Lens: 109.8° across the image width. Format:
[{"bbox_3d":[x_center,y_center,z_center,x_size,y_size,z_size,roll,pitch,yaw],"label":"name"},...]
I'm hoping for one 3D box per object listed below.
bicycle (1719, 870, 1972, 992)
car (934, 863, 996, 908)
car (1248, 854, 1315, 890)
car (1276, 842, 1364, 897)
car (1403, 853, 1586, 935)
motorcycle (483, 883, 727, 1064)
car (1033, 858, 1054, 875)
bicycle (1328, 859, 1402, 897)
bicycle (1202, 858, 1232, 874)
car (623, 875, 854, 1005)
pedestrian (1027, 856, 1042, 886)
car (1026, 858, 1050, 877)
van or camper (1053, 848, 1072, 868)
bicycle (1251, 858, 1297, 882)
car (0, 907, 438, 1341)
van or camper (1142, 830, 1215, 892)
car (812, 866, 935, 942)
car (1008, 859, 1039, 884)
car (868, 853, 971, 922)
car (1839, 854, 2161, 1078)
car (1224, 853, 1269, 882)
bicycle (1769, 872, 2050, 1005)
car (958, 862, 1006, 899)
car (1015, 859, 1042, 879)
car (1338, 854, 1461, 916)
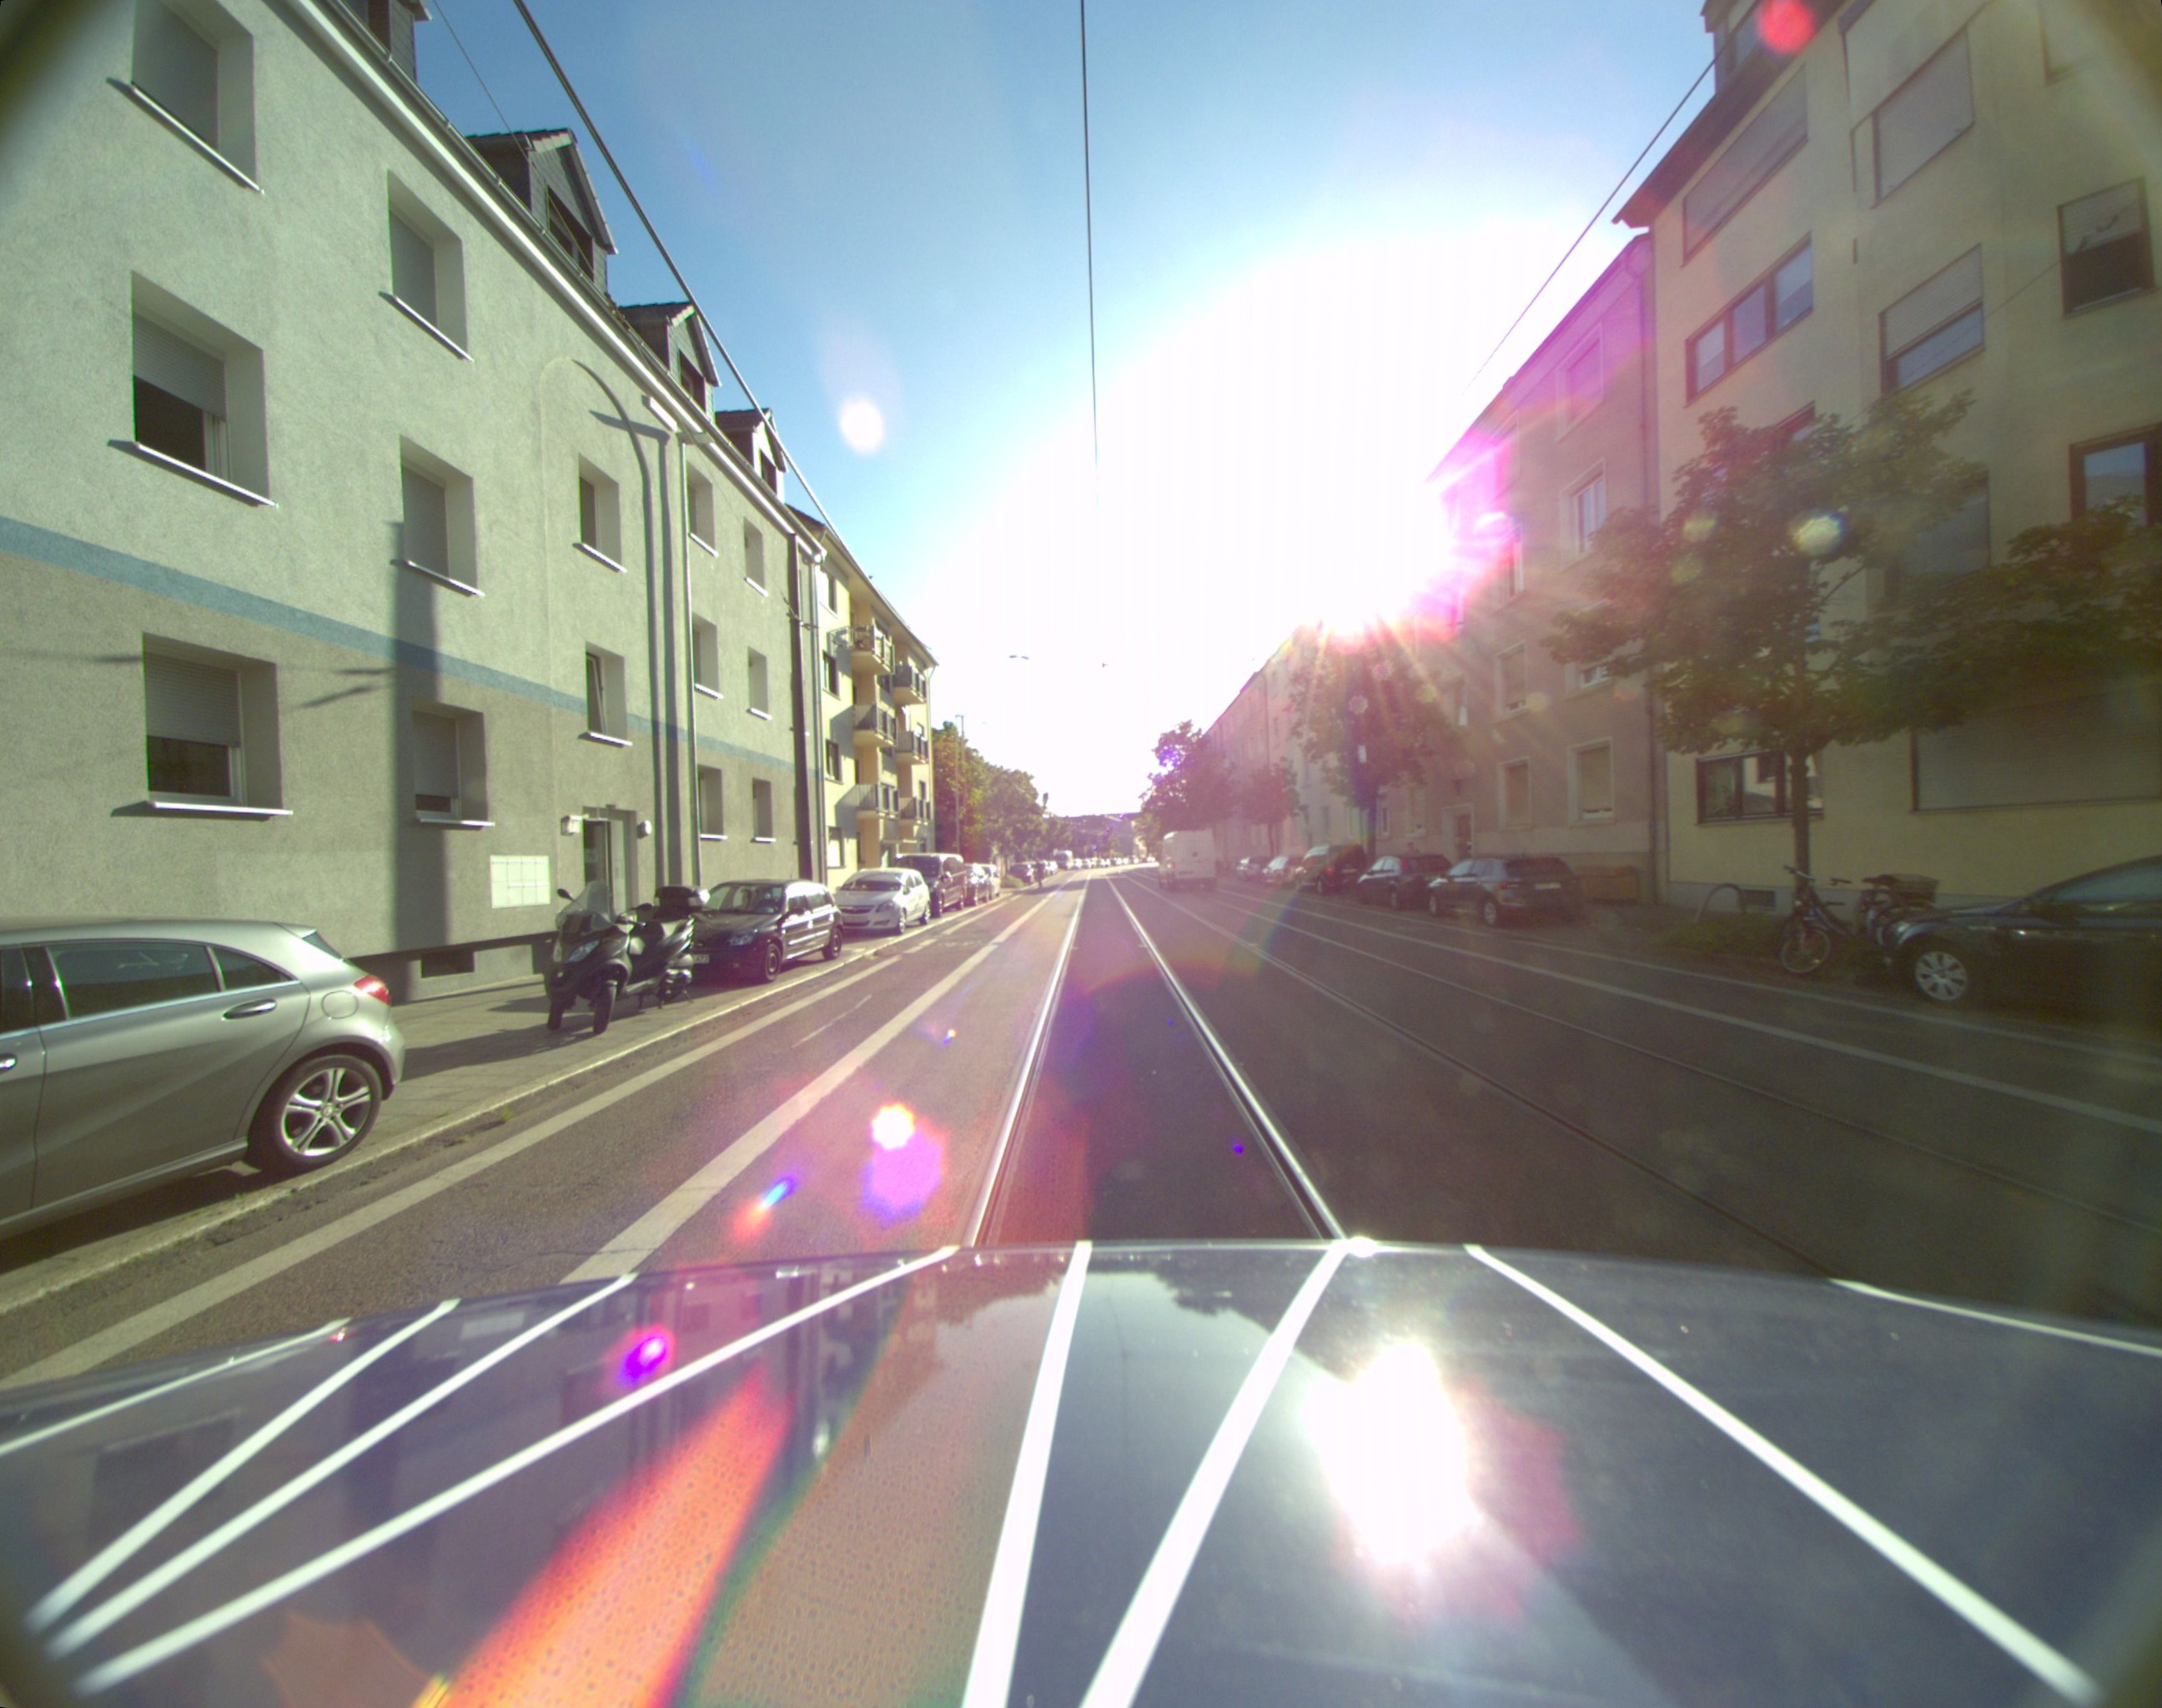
[{"bbox_3d":[9.159,0.903,9.163,2.298,1.326,0.699,-2,0,1],"label":"bicycle"},{"bbox_3d":[-4.347,1.150,29.113,1.612,1.562,4.219,0,0,2],"label":"car"},{"bbox_3d":[9.019,0.750,34.585,1.769,1.464,4.858,-2,0,0],"label":"car"},{"bbox_3d":[9.043,0.560,29.138,1.770,1.835,4.423,-4,0,-1],"label":"car"},{"bbox_3d":[8.886,0.784,16.764,1.769,1.464,4.041,-4,0,1],"label":"car"},{"bbox_3d":[-4.875,1.121,8.131,0.807,1.513,2.709,0,0,2],"label":"motorcycle"},{"bbox_3d":[-3.549,1.170,72.607,1.828,1.562,4.478,0,0,1],"label":"car"},{"bbox_3d":[9.465,0.797,25.336,2.117,1.099,0.746,-4,0,-1],"label":"bicycle"},{"bbox_3d":[10.313,0.920,57.760,2.149,1.136,0.535,-2,0,-2],"label":"bicycle"},{"bbox_3d":[-4.968,1.152,11.665,1.612,1.562,3.905,0,0,3],"label":"car"},{"bbox_3d":[-2.749,1.010,45.150,0.801,1.800,0.946,0,0,2],"label":"pedestrian"},{"bbox_3d":[-3.802,1.191,67.779,1.828,1.562,4.478,0,0,1],"label":"car"},{"bbox_3d":[-2.518,0.485,103.307,2.090,2.548,5.694,-2,1,3],"label":"van or camper"},{"bbox_3d":[9.982,0.828,39.351,2.149,1.136,0.659,-3,0,-2],"label":"bicycle"},{"bbox_3d":[-5.128,1.110,2.670,1.868,1.545,4.367,0,0,3],"label":"car"},{"bbox_3d":[4.417,0.306,35.562,2.376,2.538,6.833,-2,0,-1],"label":"van or camper"},{"bbox_3d":[-4.824,1.098,18.228,1.805,1.562,3.904,0,0,1],"label":"car"},{"bbox_3d":[-3.900,1.176,52.237,1.612,1.562,4.478,0,0,2],"label":"car"},{"bbox_3d":[-4.847,0.934,23.595,1.934,1.910,5.004,0,0,2],"label":"car"},{"bbox_3d":[8.539,0.793,5.359,1.769,1.533,4.734,-2,0,3],"label":"car"},{"bbox_3d":[9.400,0.734,43.456,1.769,1.464,4.753,-2,0,3],"label":"car"},{"bbox_3d":[9.129,0.909,8.431,2.298,1.326,0.699,-2,0,1],"label":"bicycle"},{"bbox_3d":[-4.324,1.128,33.728,1.557,1.533,3.632,0,0,2],"label":"car"},{"bbox_3d":[-4.270,1.202,62.094,1.828,1.562,4.478,0,0,1],"label":"car"},{"bbox_3d":[8.897,0.792,21.645,1.769,1.464,4.181,-4,0,2],"label":"car"}]
